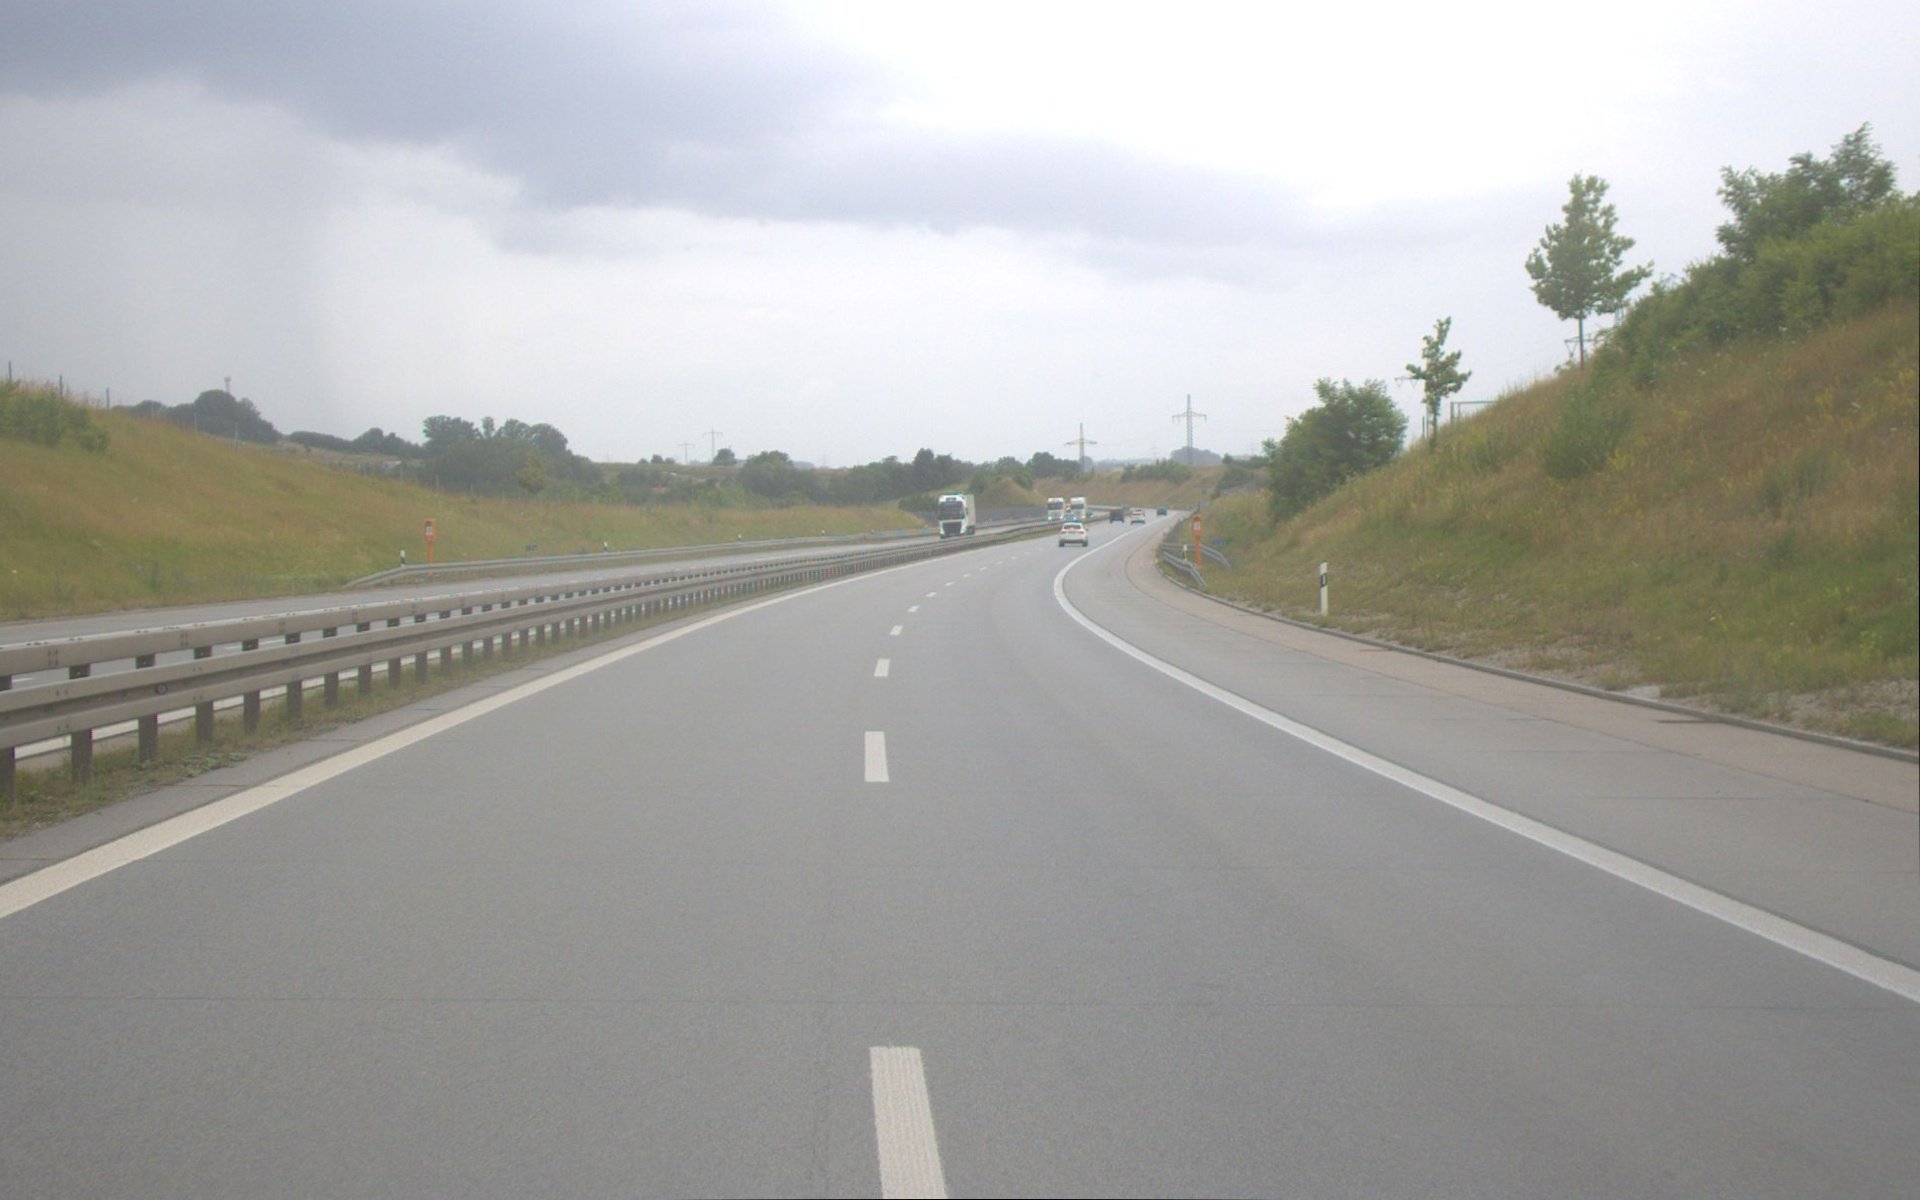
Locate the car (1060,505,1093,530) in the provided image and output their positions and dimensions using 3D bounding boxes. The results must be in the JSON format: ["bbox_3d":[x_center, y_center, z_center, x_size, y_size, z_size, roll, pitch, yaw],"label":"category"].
[{"bbox_3d":[8.029,-5.695,236.764,1.957,1.645,3.999,0,1,6],"label":"car"}]
